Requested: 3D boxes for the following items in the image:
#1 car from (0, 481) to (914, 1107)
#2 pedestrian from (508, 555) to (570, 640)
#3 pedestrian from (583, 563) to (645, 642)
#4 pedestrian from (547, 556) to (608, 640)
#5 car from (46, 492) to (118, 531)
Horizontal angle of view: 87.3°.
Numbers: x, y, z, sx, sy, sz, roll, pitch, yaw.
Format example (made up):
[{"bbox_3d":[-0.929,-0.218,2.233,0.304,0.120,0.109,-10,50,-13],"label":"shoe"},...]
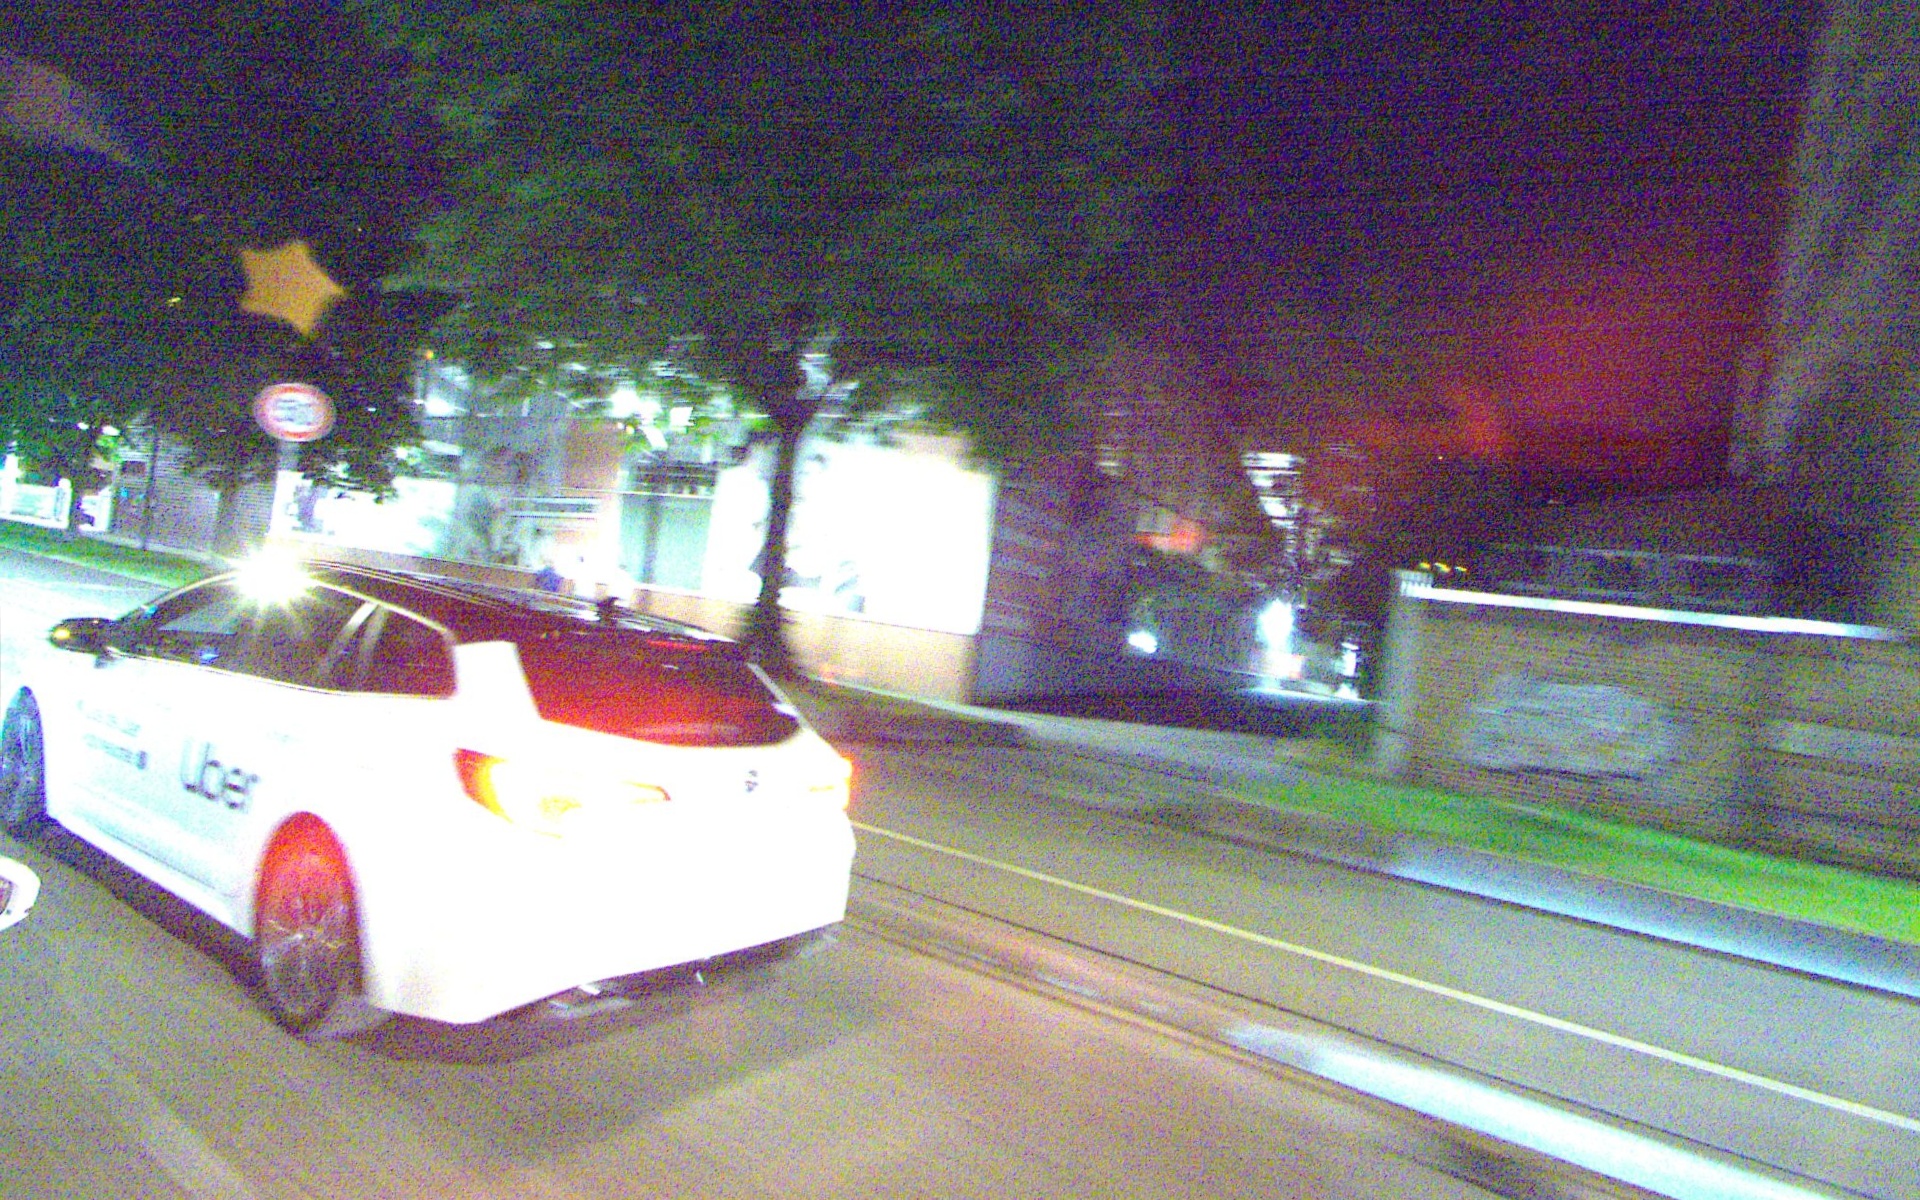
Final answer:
[{"bbox_3d":[-2.454,0.454,4.385,4.143,1.451,1.733,7,-3,34],"label":"car"},{"bbox_3d":[-9.483,-0.052,22.672,0.892,1.790,0.715,7,0,32],"label":"pedestrian"},{"bbox_3d":[-8.434,0.071,24.530,0.892,1.790,0.902,7,0,32],"label":"pedestrian"},{"bbox_3d":[-8.815,-0.040,23.186,0.892,1.790,0.739,7,0,32],"label":"pedestrian"},{"bbox_3d":[-43.904,-4.450,50.318,3.768,1.505,1.575,7,-1,32],"label":"car"}]
